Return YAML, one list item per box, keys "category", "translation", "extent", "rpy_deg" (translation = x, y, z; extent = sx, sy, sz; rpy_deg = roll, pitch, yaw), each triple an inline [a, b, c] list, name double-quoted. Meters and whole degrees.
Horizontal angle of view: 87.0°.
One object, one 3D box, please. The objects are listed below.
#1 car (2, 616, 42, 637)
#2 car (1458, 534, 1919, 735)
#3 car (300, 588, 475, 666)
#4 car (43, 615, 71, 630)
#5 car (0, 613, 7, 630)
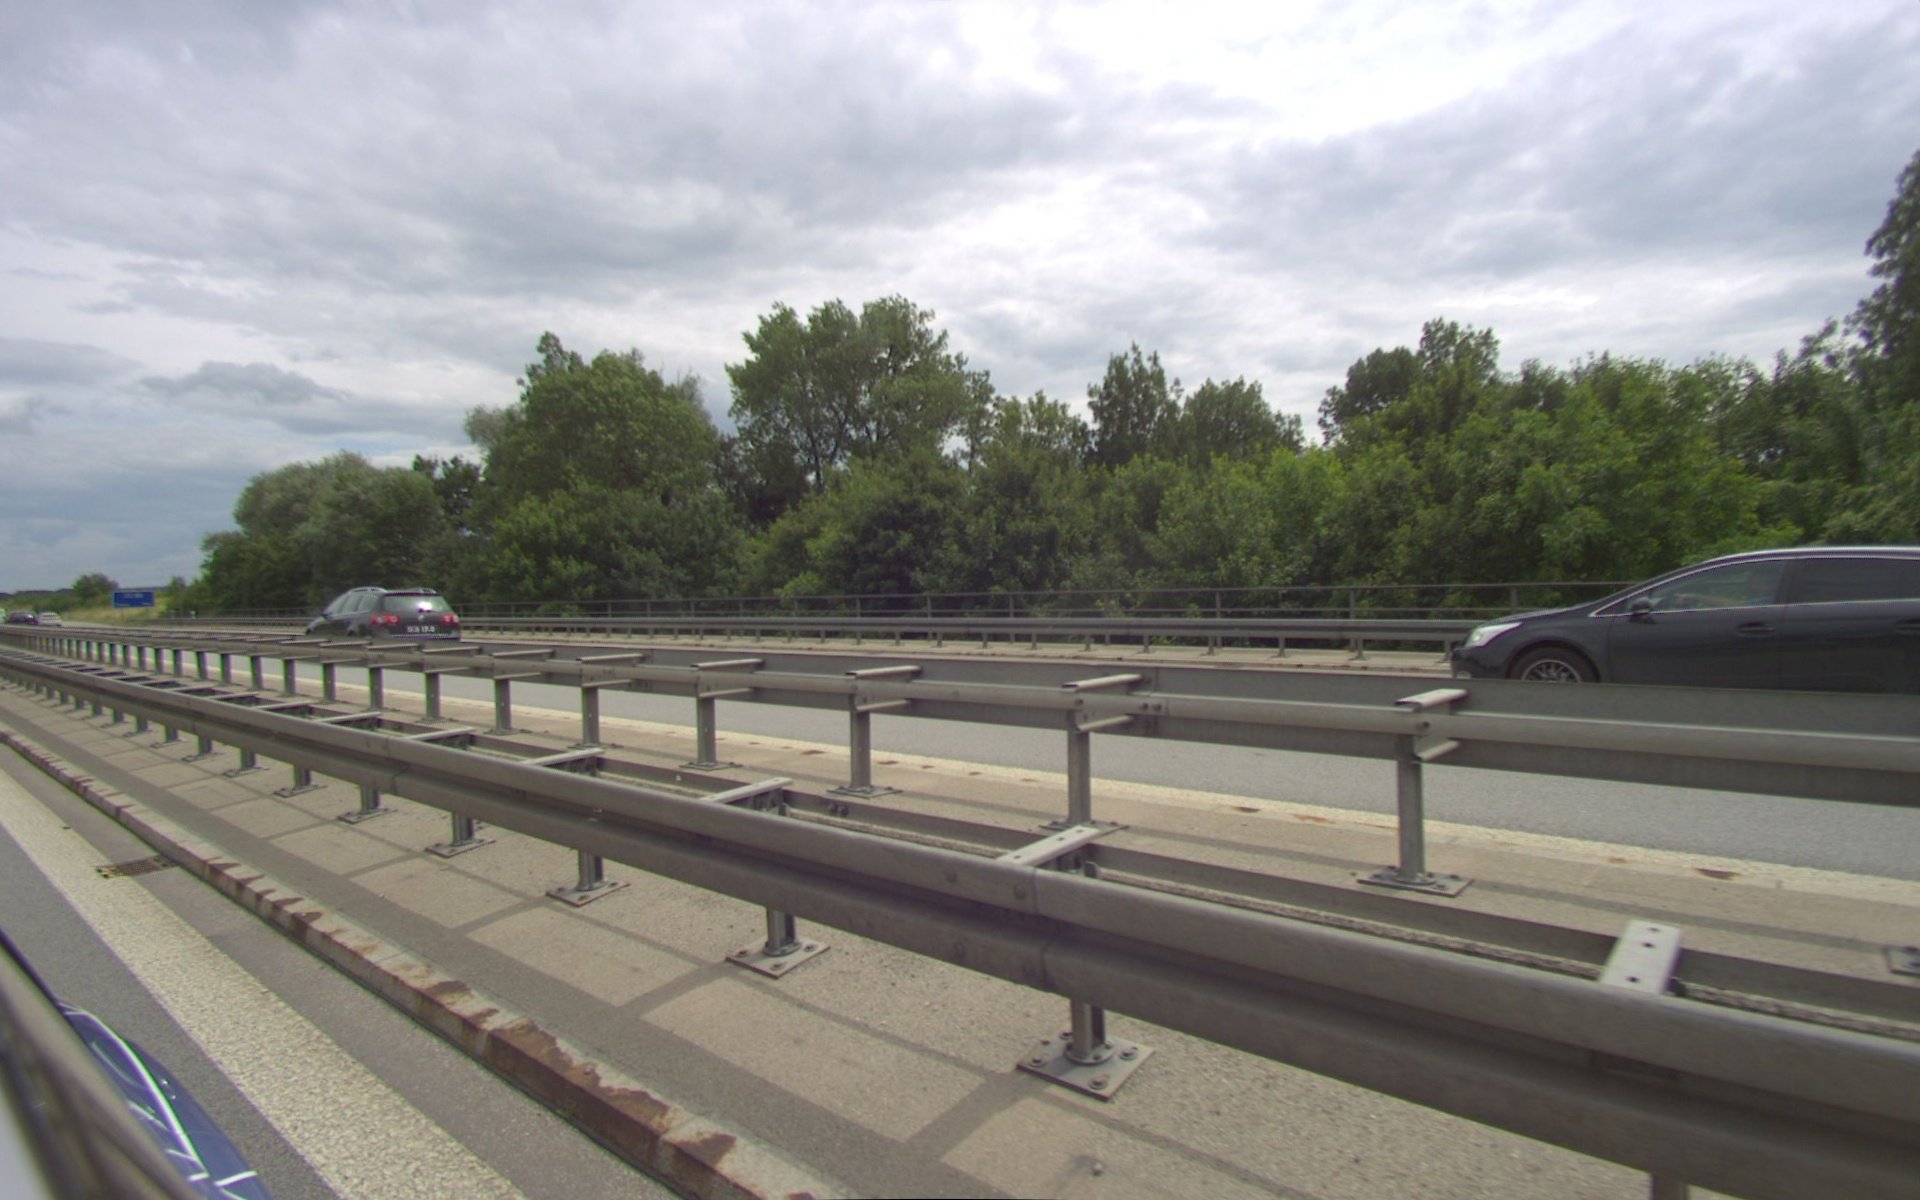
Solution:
- category: "car"
  translation: [-66.014, 1.829, 71.218]
  extent: [4.357, 1.386, 1.668]
  rpy_deg: [-1, 0, 42]
- category: "car"
  translation: [6.908, 0.239, 8.154]
  extent: [4.938, 1.420, 1.720]
  rpy_deg: [-1, 0, 40]
- category: "car"
  translation: [-11.325, 0.503, 19.897]
  extent: [4.144, 1.377, 1.635]
  rpy_deg: [-1, 0, 40]
- category: "car"
  translation: [-94.287, 2.358, 105.641]
  extent: [3.936, 1.449, 1.825]
  rpy_deg: [-1, 0, 44]
- category: "car"
  translation: [-108.497, 2.446, 113.606]
  extent: [4.713, 1.925, 1.753]
  rpy_deg: [-2, 1, 42]
